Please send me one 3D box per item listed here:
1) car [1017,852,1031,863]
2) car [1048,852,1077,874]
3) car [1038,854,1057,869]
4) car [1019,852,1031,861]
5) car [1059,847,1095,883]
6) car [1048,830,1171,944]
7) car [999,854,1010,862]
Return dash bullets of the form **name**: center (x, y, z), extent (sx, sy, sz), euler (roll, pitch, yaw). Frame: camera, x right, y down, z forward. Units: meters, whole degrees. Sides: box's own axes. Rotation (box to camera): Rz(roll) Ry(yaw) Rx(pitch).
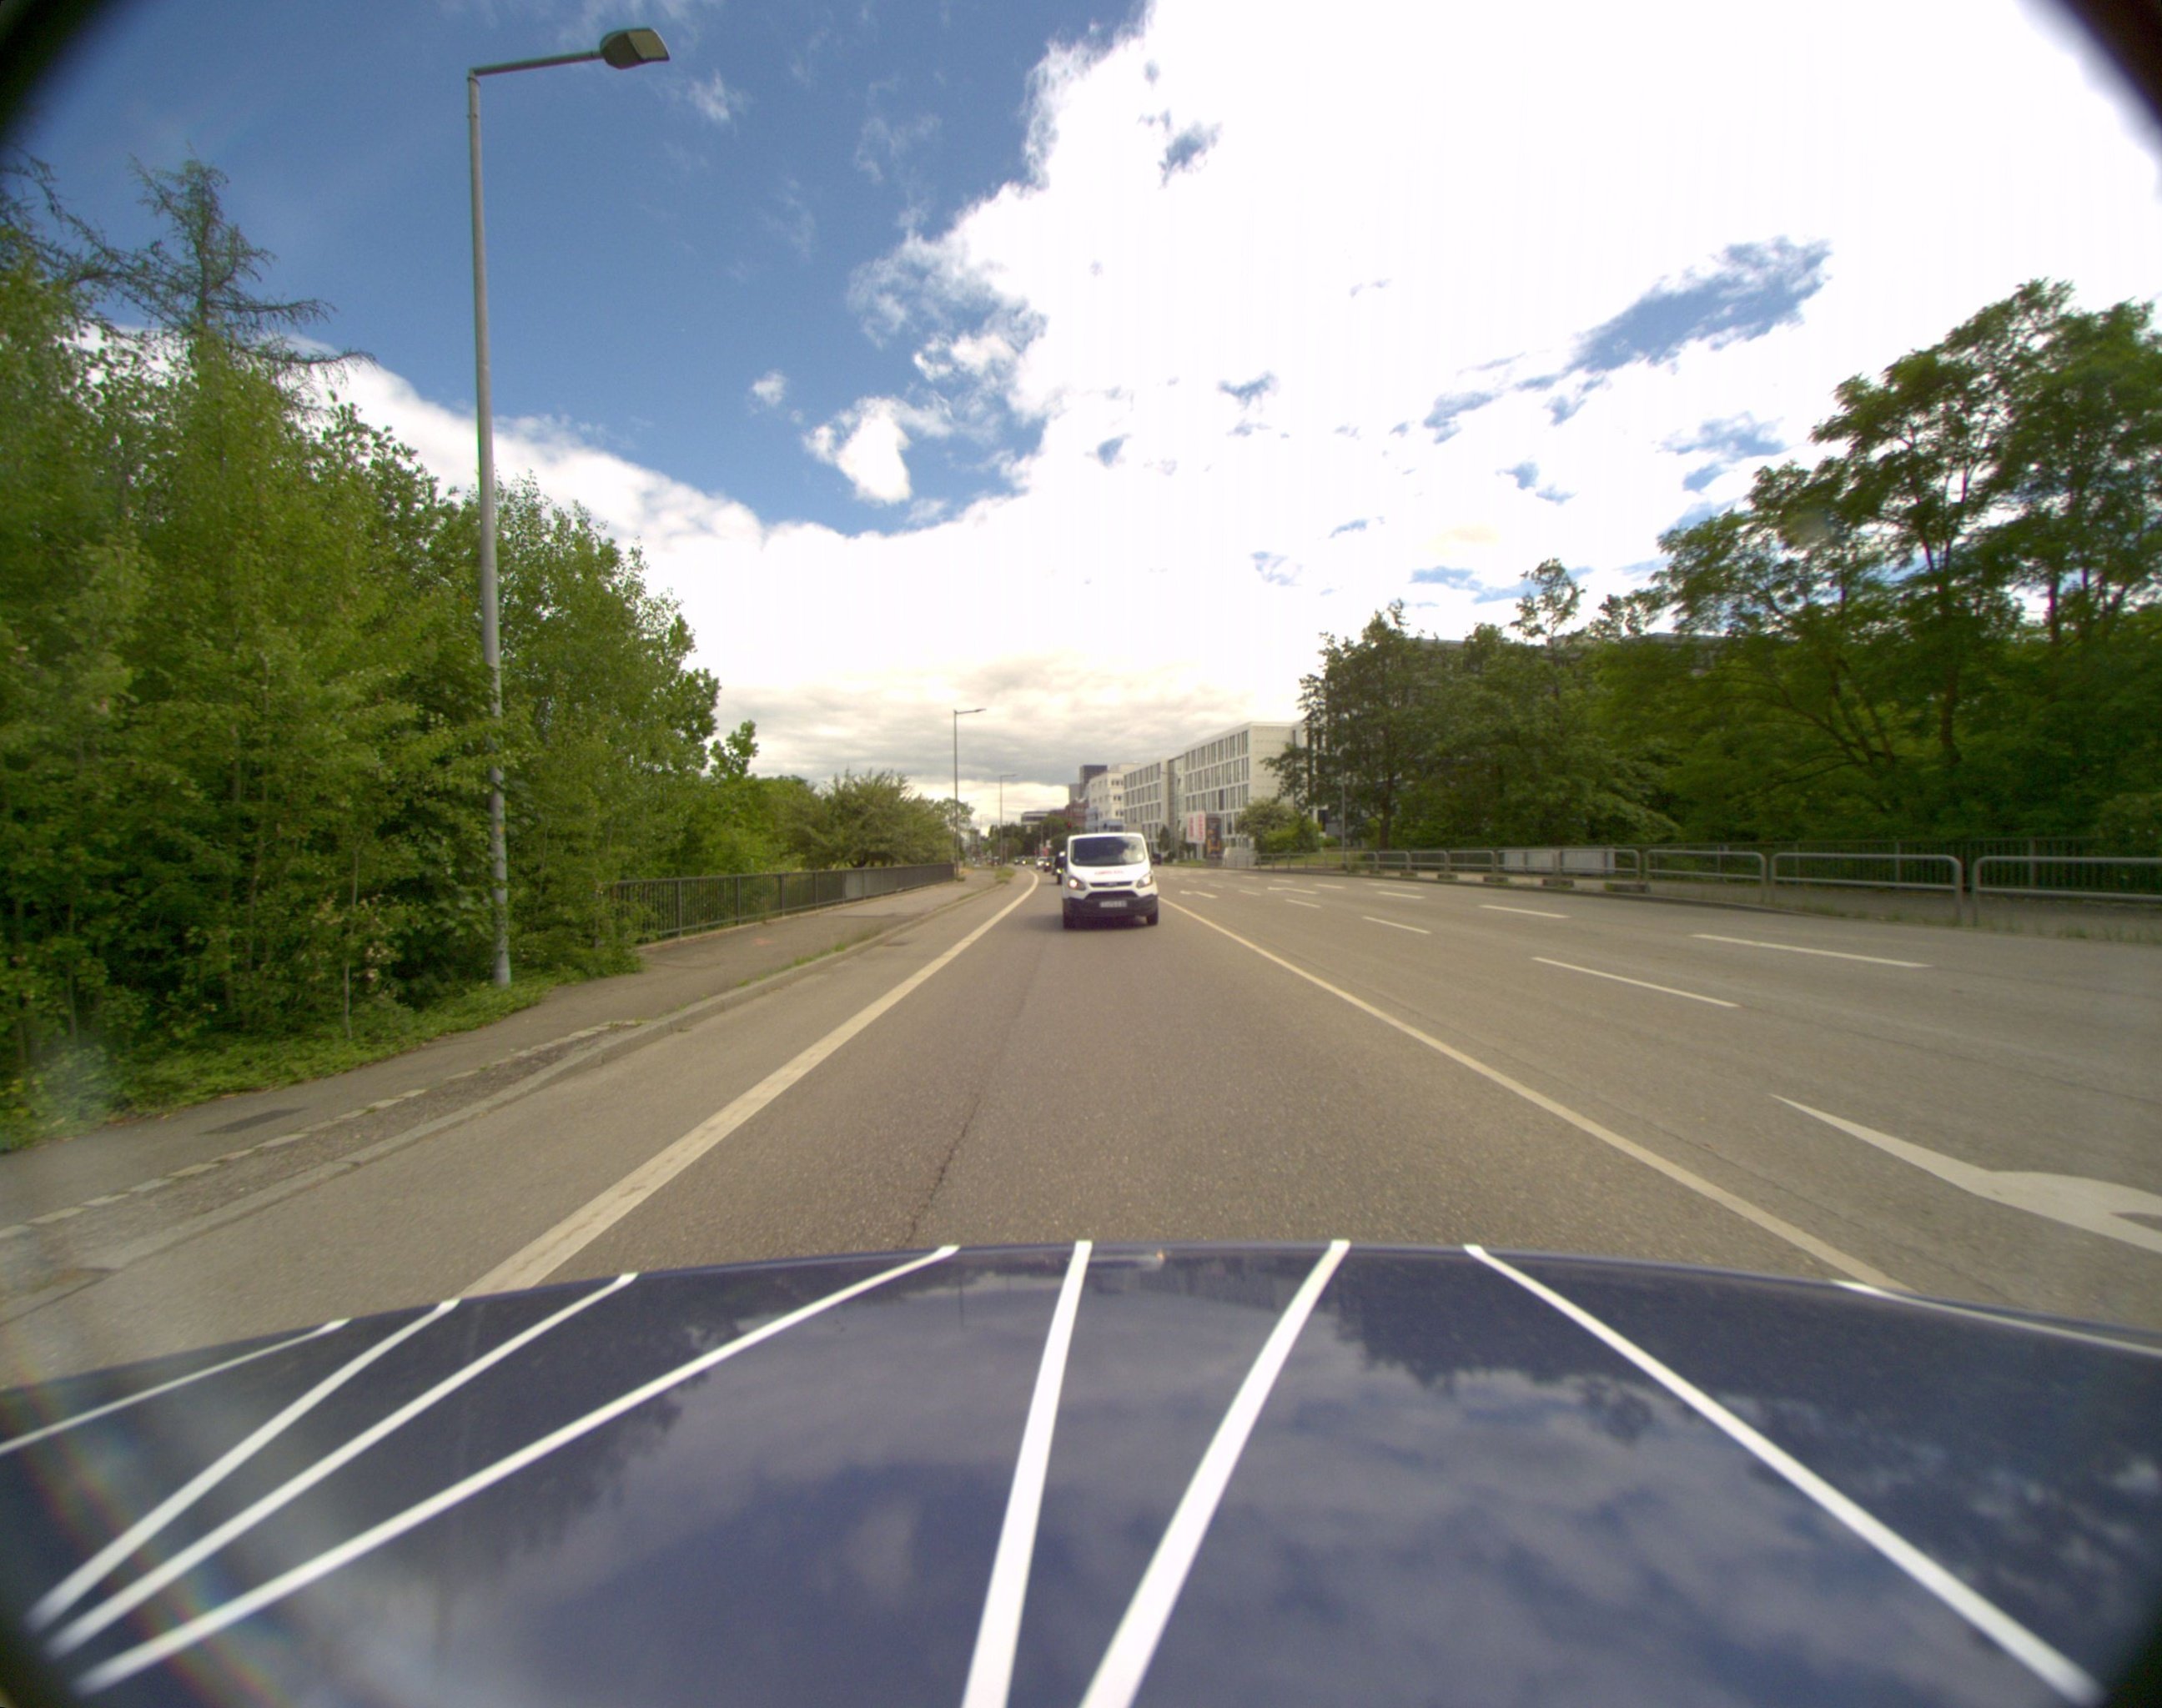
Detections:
- **car**: center (-9.743, 0.585, 130.293), extent (1.874, 1.685, 4.367), euler (-2, 0, -10)
- **car**: center (-1.596, 0.705, 63.562), extent (1.873, 1.685, 4.368), euler (-2, 0, -9)
- **car**: center (-4.269, 0.922, 95.298), extent (1.873, 1.685, 4.368), euler (-2, 0, -9)
- **car**: center (-10.331, 0.490, 140.800), extent (1.873, 1.685, 4.368), euler (-2, 0, -9)
- **car**: center (-0.171, 0.558, 42.677), extent (1.872, 1.836, 4.371), euler (-2, 0, 1)
- **car**: center (0.555, 0.582, 16.711), extent (2.122, 1.963, 6.206), euler (-2, 0, 1)
- **car**: center (-14.751, 0.763, 145.943), extent (1.737, 1.432, 4.365), euler (-2, 0, -9)
